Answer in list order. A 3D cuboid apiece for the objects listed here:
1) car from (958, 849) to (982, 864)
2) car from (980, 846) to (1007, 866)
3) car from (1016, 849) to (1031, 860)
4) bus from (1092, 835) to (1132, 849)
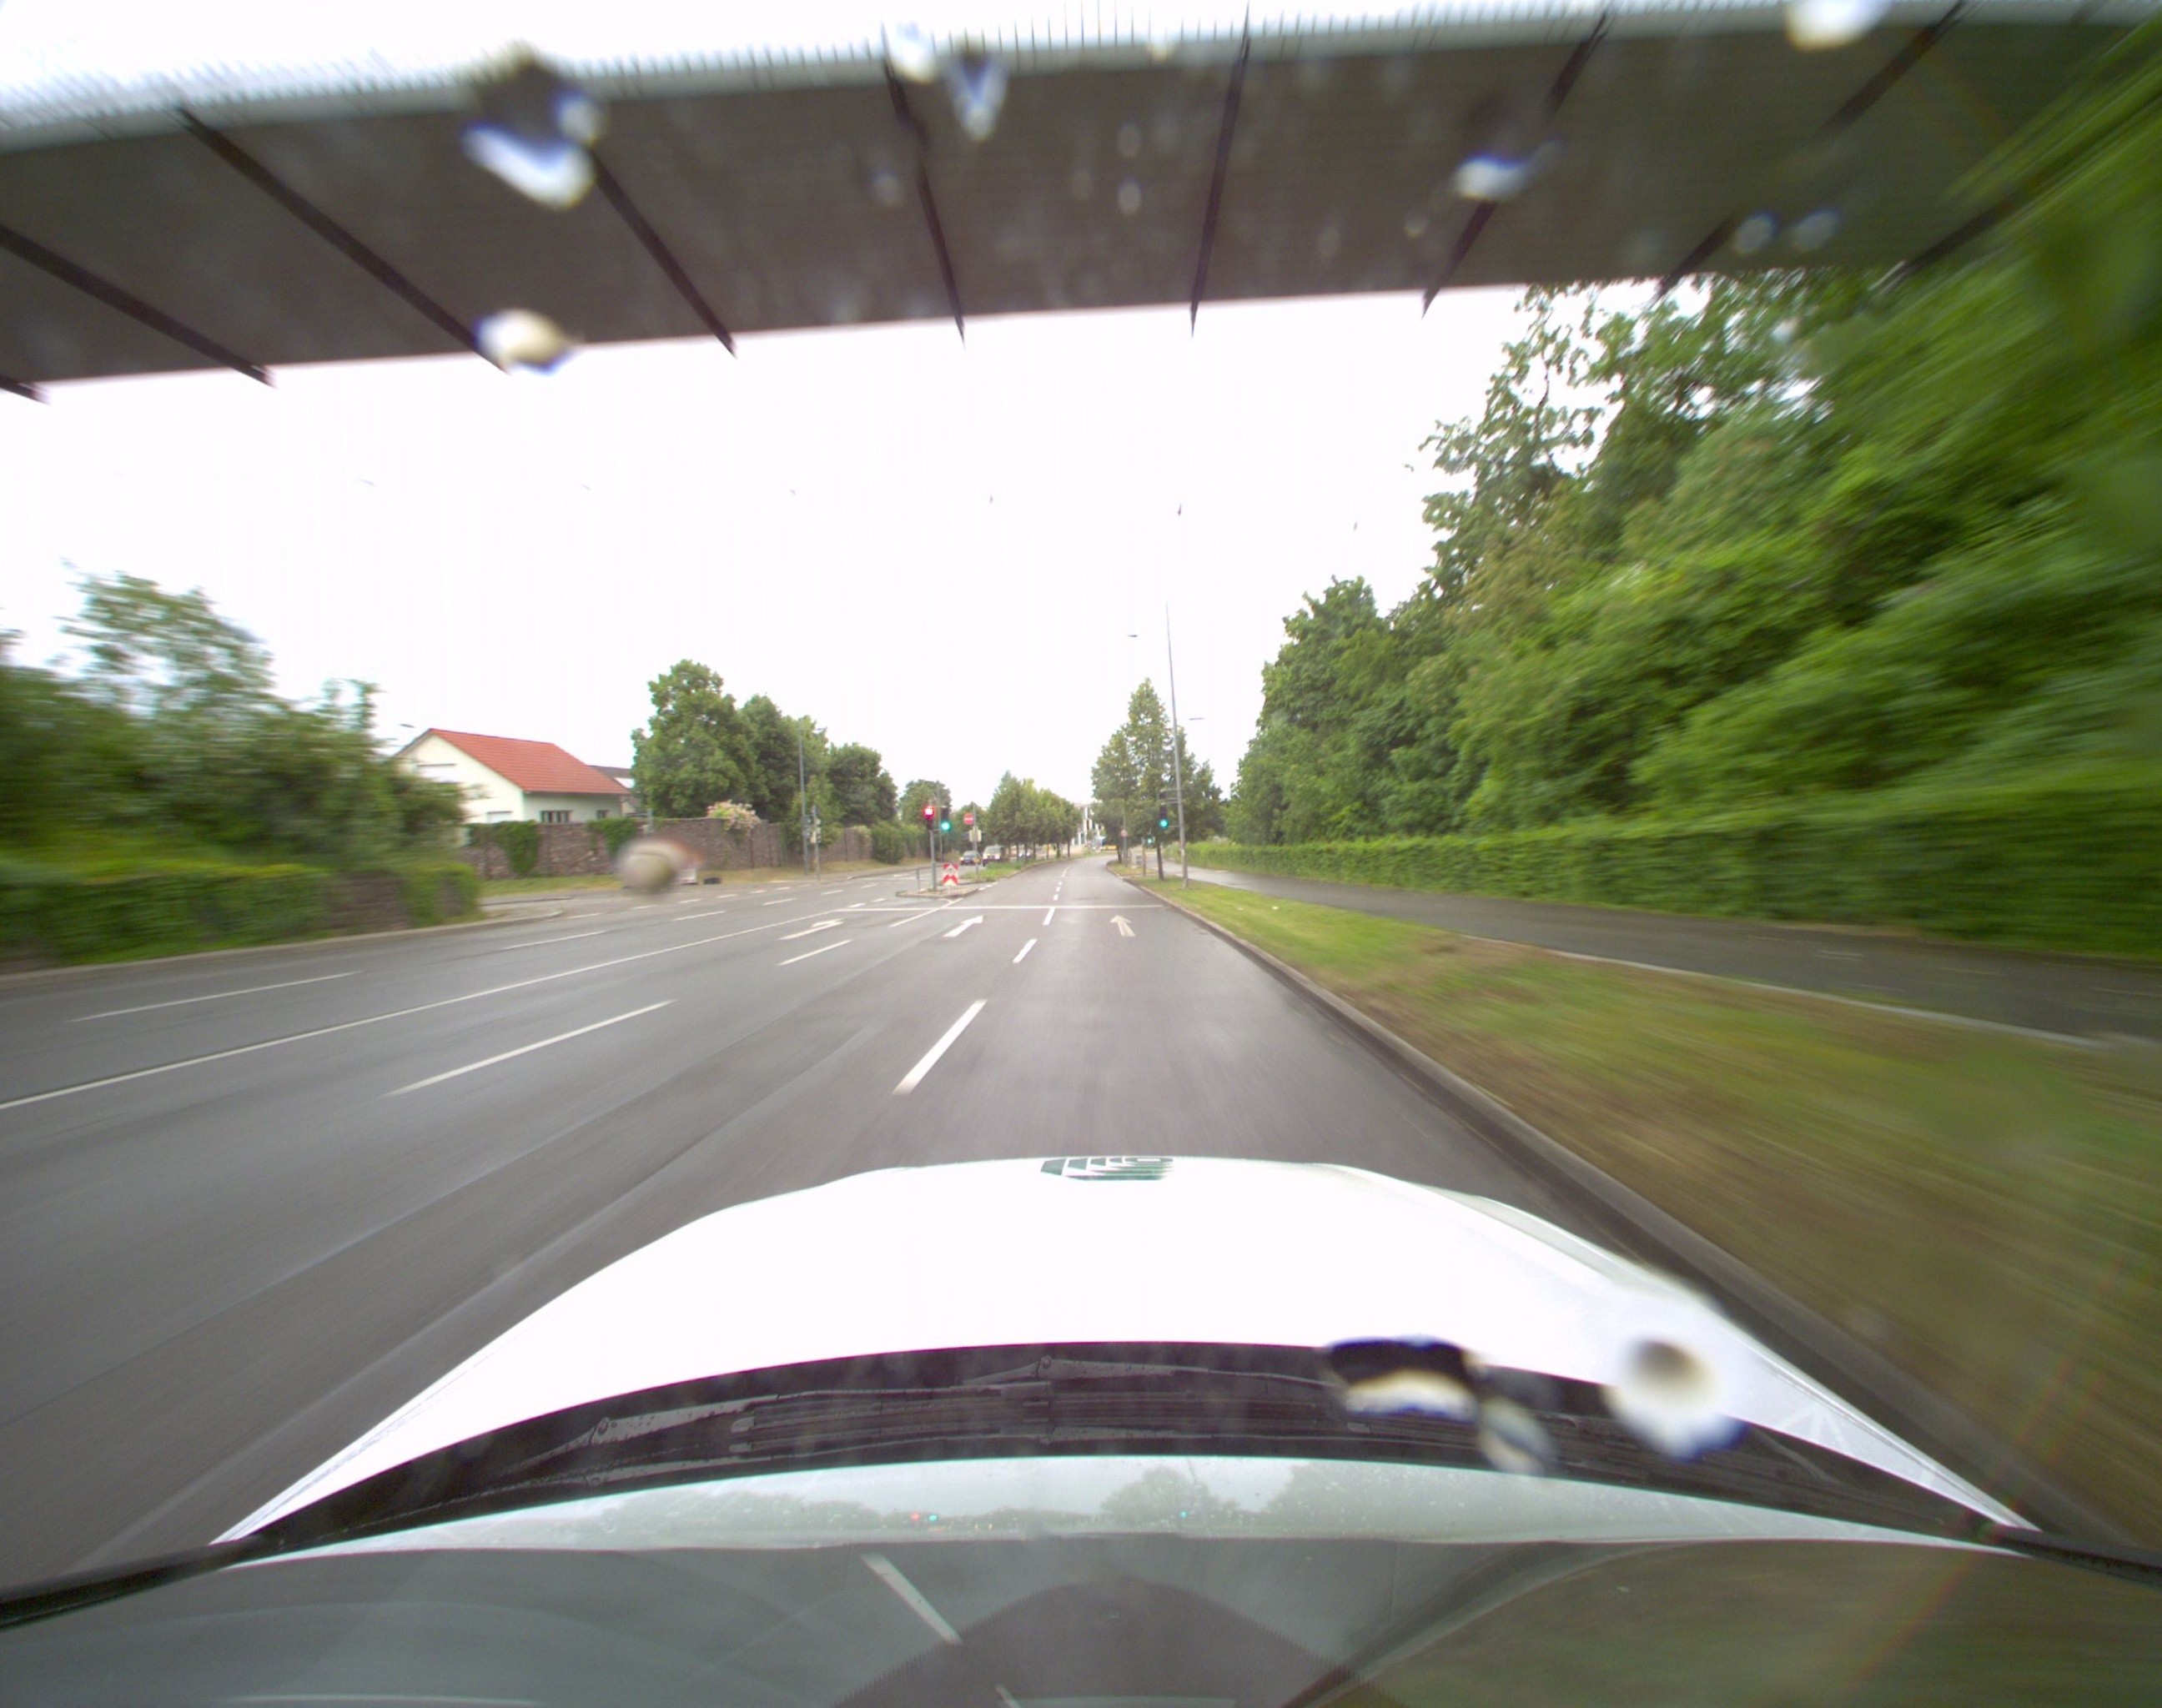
[{"bbox_3d":[-11.609,0.270,85.406,1.590,1.489,4.006,-1,0,5],"label":"car"},{"bbox_3d":[-8.668,0.146,80.869,2.006,1.919,5.097,-1,0,2],"label":"car"},{"bbox_3d":[-8.541,0.032,120.689,1.678,1.539,2.921,-1,1,6],"label":"car"},{"bbox_3d":[8.287,-2.990,209.668,2.759,3.357,18.335,-1,0,27],"label":"bus"}]
